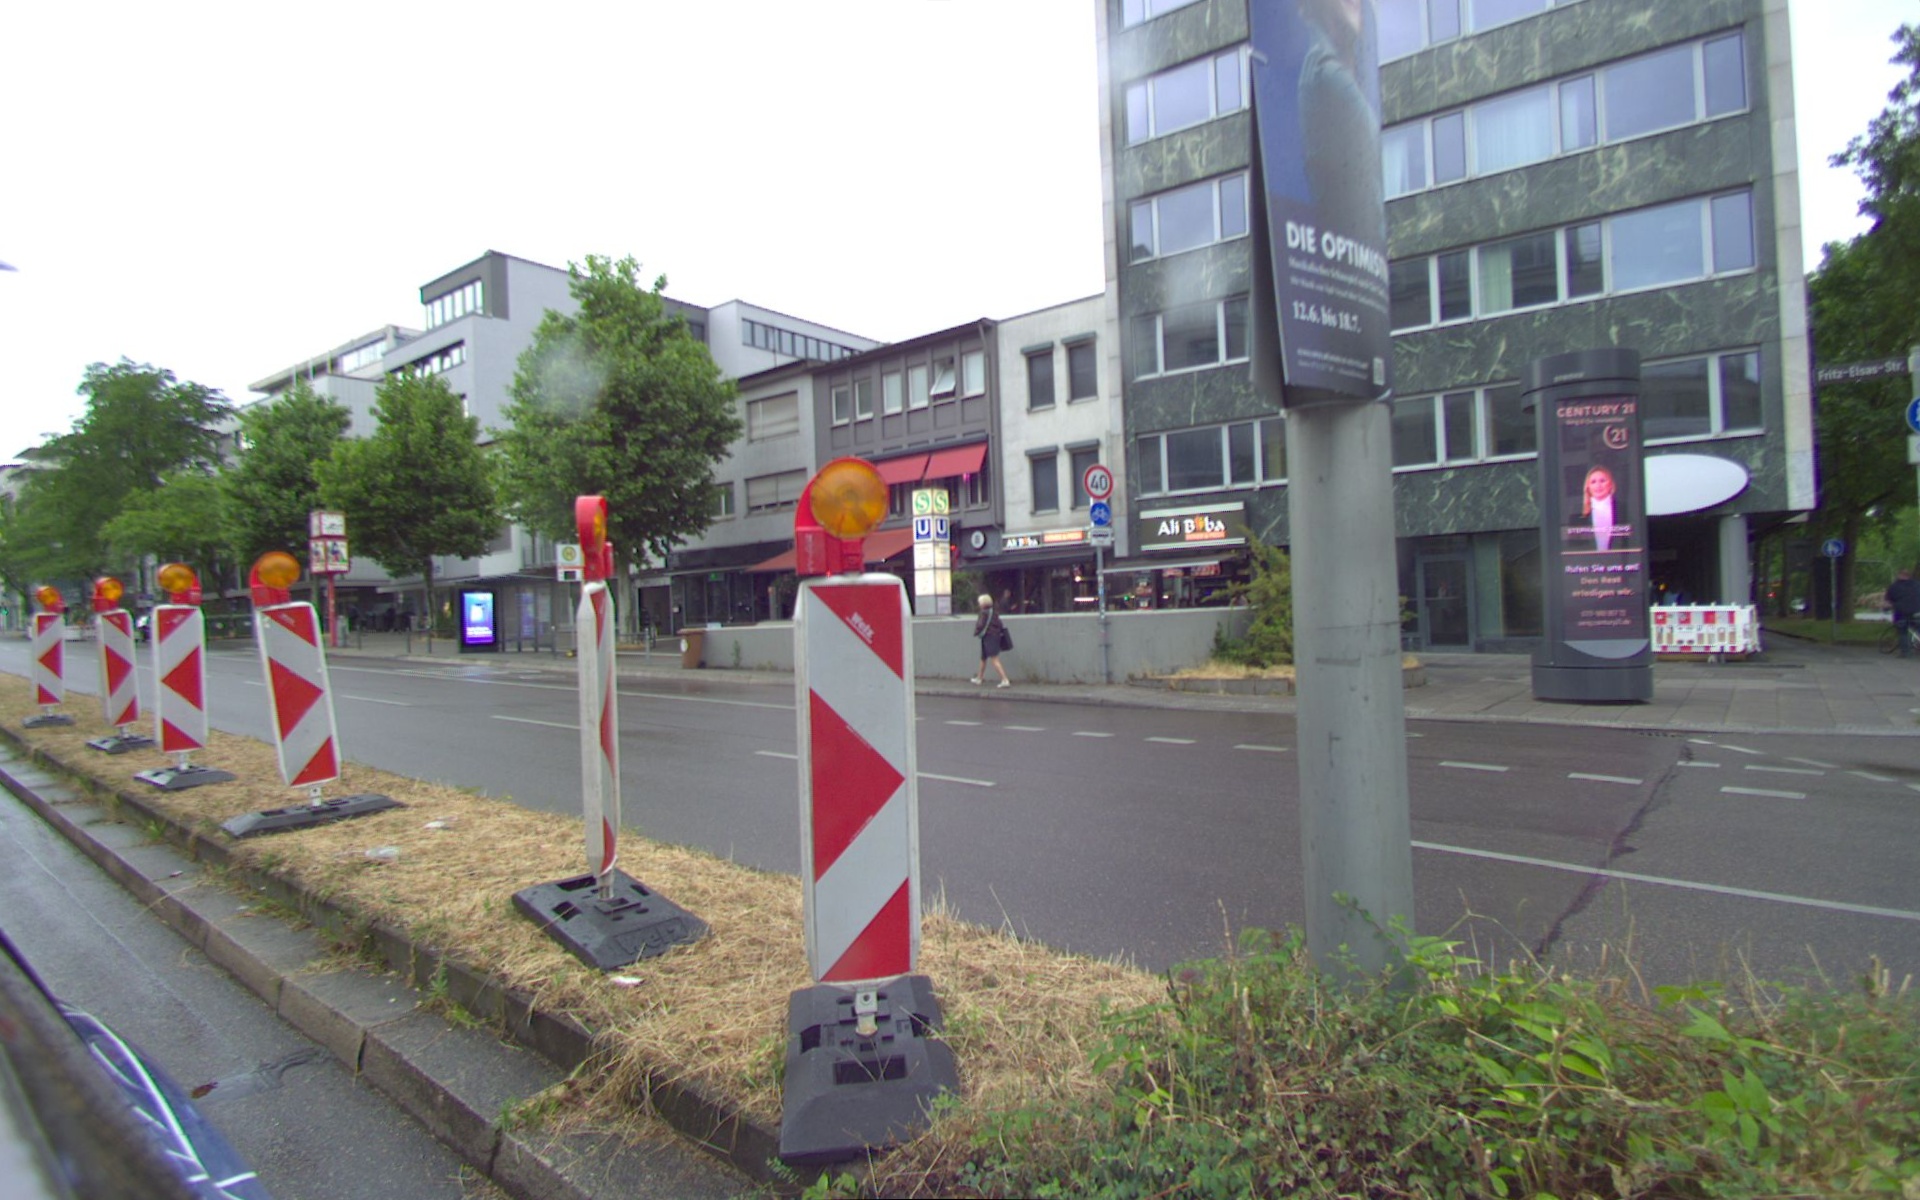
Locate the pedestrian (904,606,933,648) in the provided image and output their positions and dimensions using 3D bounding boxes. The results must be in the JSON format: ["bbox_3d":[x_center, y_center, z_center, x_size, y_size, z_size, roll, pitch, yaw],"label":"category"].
[{"bbox_3d":[-1.359,0.880,32.867,0.690,1.354,0.627,-2,-1,34],"label":"pedestrian"}]

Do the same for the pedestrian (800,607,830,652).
[{"bbox_3d":[-4.817,0.982,33.568,0.706,1.461,0.683,-2,-1,37],"label":"pedestrian"}]

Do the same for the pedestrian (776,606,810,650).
[{"bbox_3d":[-5.648,0.939,34.186,0.912,1.461,0.683,-2,-1,37],"label":"pedestrian"}]

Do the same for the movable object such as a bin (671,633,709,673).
[{"bbox_3d":[-6.279,1.228,23.536,0.680,0.904,0.527,-1,-2,32],"label":"movable object such as a bin"}]

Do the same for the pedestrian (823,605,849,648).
[{"bbox_3d":[-4.346,0.931,35.411,0.546,1.461,0.683,-2,-1,37],"label":"pedestrian"}]

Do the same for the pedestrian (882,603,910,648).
[{"bbox_3d":[-2.104,0.841,33.319,0.690,1.461,0.627,-2,-1,34],"label":"pedestrian"}]

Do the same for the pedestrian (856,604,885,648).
[{"bbox_3d":[-3.038,0.866,34.346,0.690,1.461,0.720,-2,-1,34],"label":"pedestrian"}]

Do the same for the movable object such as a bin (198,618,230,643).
[{"bbox_3d":[-44.241,1.828,60.003,1.088,1.437,1.345,-2,-1,41],"label":"movable object such as a bin"}]

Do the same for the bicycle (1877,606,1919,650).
[{"bbox_3d":[20.855,0.604,21.621,0.468,0.941,1.803,0,-1,-39],"label":"bicycle"}]

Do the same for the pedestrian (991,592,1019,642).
[{"bbox_3d":[1.330,0.497,30.134,0.587,1.461,0.597,-2,-1,36],"label":"pedestrian"}]

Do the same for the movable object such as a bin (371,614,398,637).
[{"bbox_3d":[-37.951,1.691,66.740,1.278,1.446,1.077,-1,-1,32],"label":"movable object such as a bin"}]

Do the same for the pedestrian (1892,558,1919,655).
[{"bbox_3d":[19.269,0.141,20.190,0.897,1.900,0.776,-2,-5,41],"label":"pedestrian"}]

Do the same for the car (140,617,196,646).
[{"bbox_3d":[-48.023,1.908,61.355,4.019,1.648,1.761,-2,-1,38],"label":"car"}]

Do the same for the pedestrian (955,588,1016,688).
[{"bbox_3d":[0.442,0.645,17.458,0.757,1.665,0.683,-2,-1,37],"label":"pedestrian"}]

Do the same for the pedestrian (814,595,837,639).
[{"bbox_3d":[-4.974,0.620,37.321,0.603,1.582,0.591,-1,-1,31],"label":"pedestrian"}]

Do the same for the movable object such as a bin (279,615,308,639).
[{"bbox_3d":[-41.601,1.679,63.192,1.088,1.499,1.265,-2,-1,41],"label":"movable object such as a bin"}]

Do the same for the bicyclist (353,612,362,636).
[{"bbox_3d":[-36.903,1.466,61.960,0.418,1.412,0.408,0,-1,-44],"label":"bicyclist"}]

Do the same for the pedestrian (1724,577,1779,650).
[{"bbox_3d":[18.029,0.333,23.054,0.922,1.597,0.822,-2,-5,41],"label":"pedestrian"}]

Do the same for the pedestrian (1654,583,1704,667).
[{"bbox_3d":[16.576,0.586,23.324,0.875,1.868,1.012,-2,-5,37],"label":"pedestrian"}]

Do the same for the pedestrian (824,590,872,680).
[{"bbox_3d":[-2.428,0.745,21.946,0.757,1.899,0.683,-2,-1,37],"label":"pedestrian"}]

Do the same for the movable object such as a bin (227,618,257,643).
[{"bbox_3d":[-43.329,1.835,61.094,1.088,1.437,1.265,-2,-1,41],"label":"movable object such as a bin"}]

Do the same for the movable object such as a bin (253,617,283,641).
[{"bbox_3d":[-42.492,1.753,62.138,1.088,1.437,1.265,-2,-1,41],"label":"movable object such as a bin"}]

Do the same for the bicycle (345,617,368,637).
[{"bbox_3d":[-36.926,1.660,61.927,1.132,1.233,0.405,0,-1,-43],"label":"bicycle"}]

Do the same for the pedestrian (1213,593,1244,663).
[{"bbox_3d":[7.398,0.766,27.874,0.590,1.899,0.749,-2,-1,34],"label":"pedestrian"}]

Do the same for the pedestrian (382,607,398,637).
[{"bbox_3d":[-33.448,1.285,59.383,0.653,1.776,0.688,-1,-1,43],"label":"pedestrian"}]
